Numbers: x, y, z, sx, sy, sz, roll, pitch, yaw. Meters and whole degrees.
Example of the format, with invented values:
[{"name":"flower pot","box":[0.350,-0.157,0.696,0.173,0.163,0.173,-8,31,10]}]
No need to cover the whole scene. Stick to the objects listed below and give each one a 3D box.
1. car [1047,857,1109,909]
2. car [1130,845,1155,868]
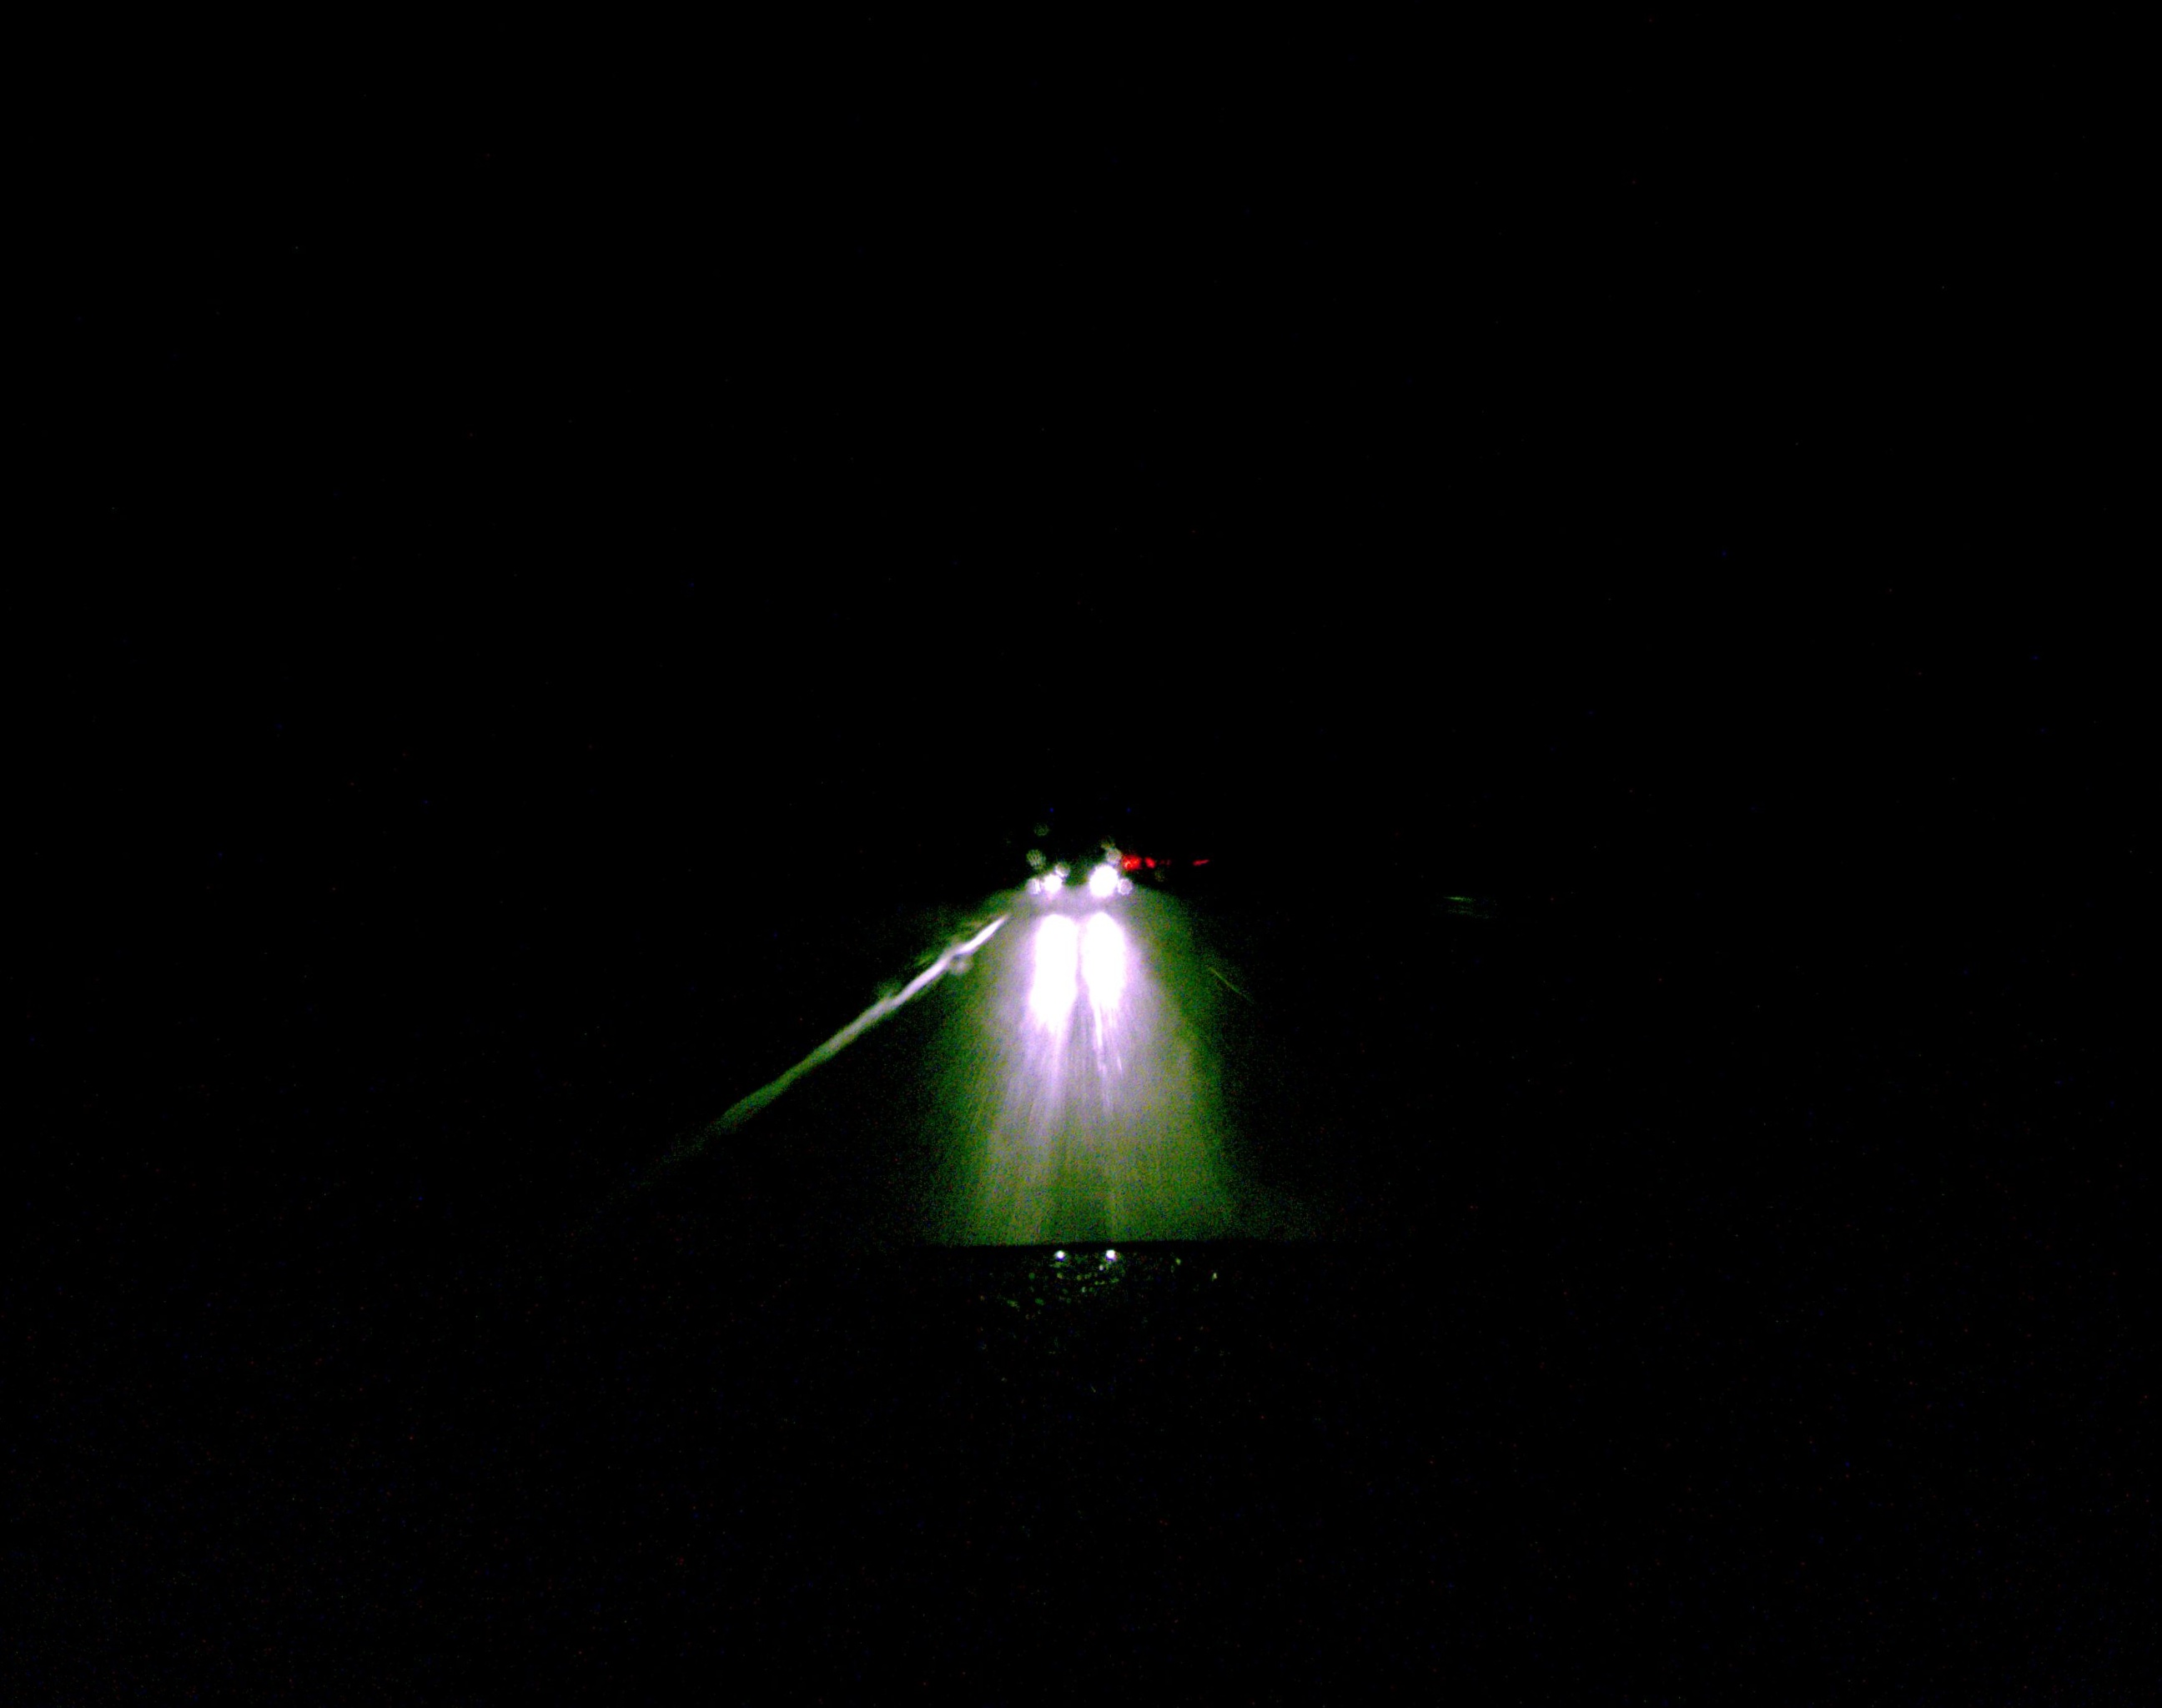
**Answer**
[{"name":"car","box":[-0.014,0.891,24.890,1.744,1.501,3.601,-2,0,3]},{"name":"car","box":[5.036,0.218,62.816,1.840,1.833,4.001,0,-1,1]}]
